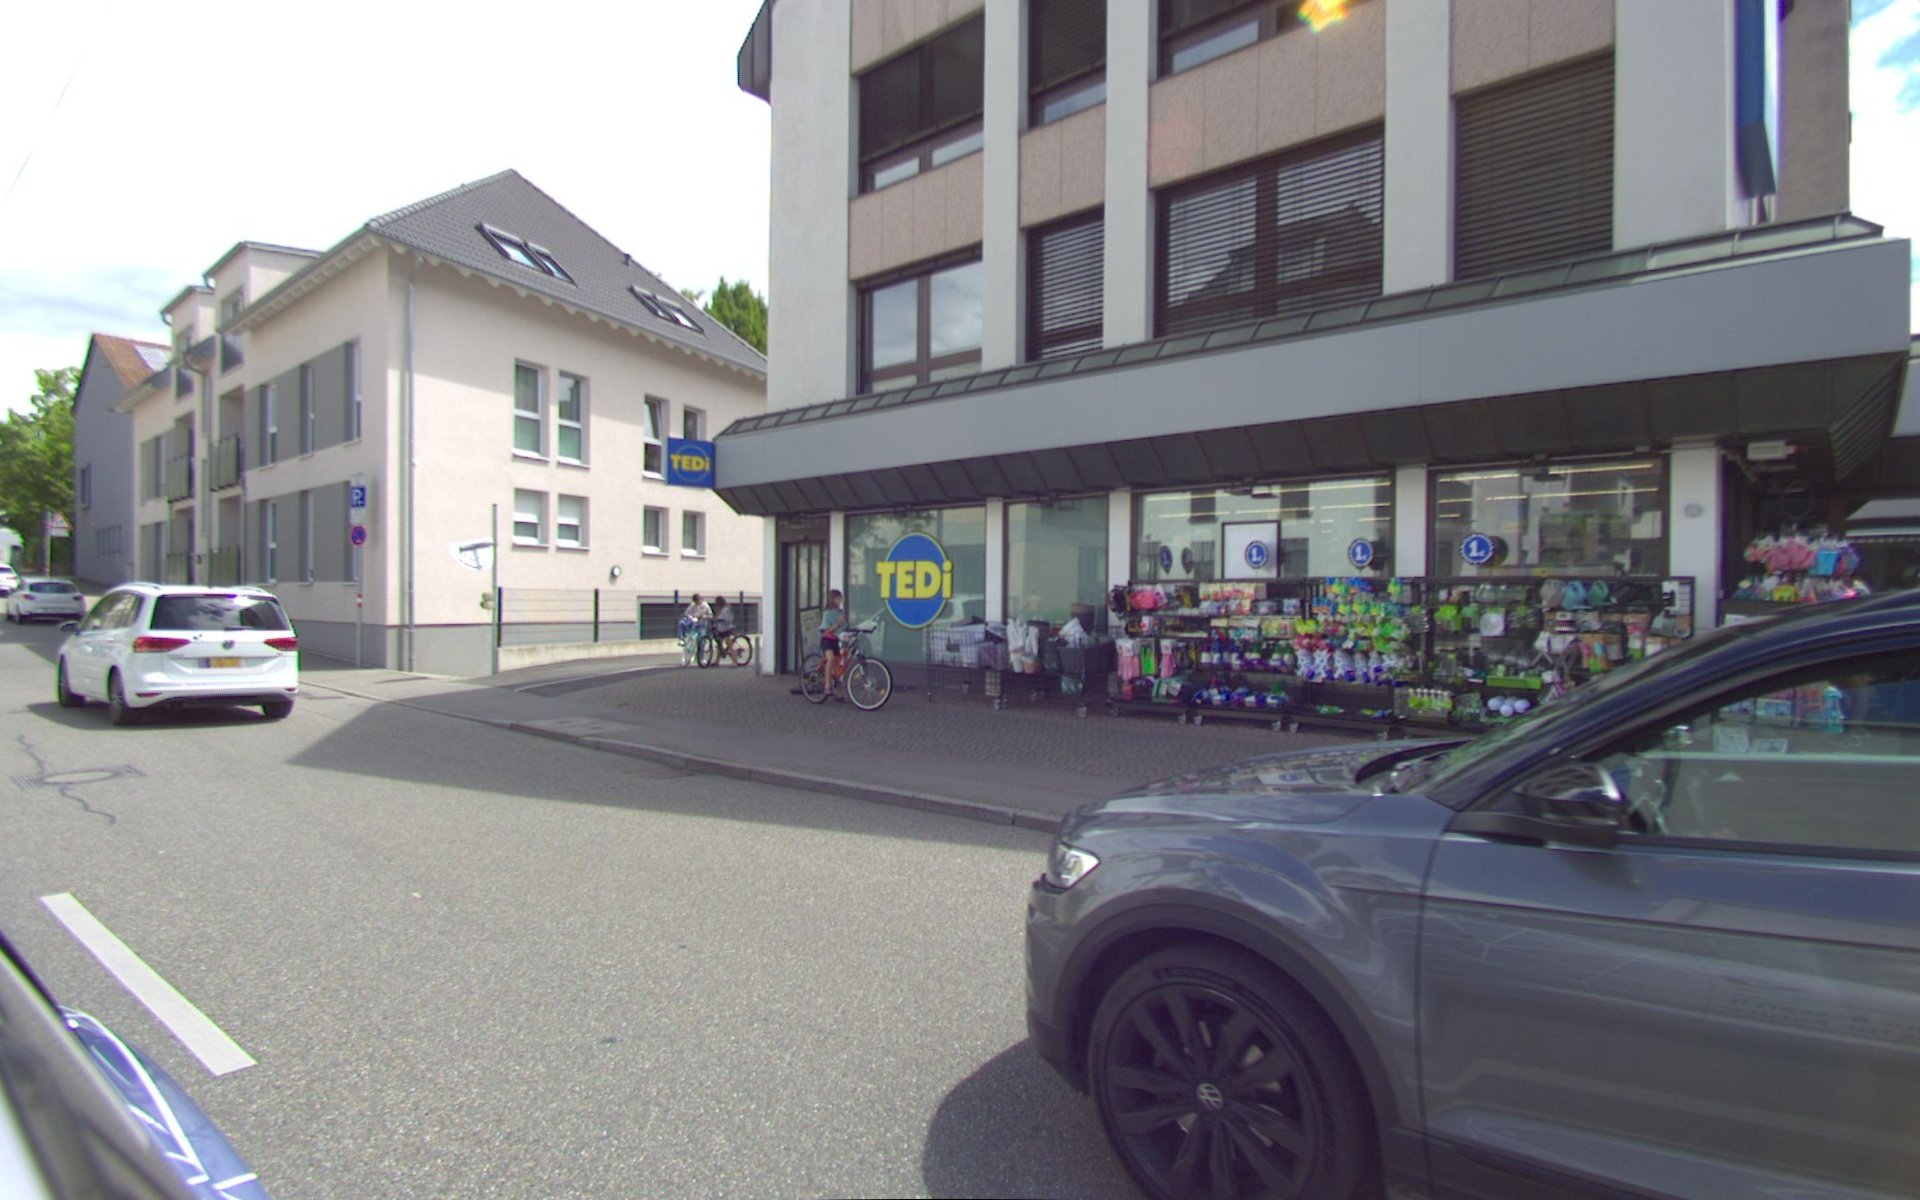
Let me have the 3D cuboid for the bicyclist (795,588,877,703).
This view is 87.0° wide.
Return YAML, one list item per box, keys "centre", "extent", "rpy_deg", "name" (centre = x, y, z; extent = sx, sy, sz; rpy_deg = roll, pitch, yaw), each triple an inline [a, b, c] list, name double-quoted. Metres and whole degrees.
- centre: [-1.547, 0.537, 12.633]
  extent: [0.761, 1.347, 0.660]
  rpy_deg: [1, 4, 41]
  name: "bicyclist"

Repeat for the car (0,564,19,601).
- centre: [-42.988, -0.823, 44.667]
  extent: [4.066, 1.499, 1.714]
  rpy_deg: [4, 1, 42]
  name: "car"

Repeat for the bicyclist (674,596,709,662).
- centre: [-5.132, 0.546, 19.357]
  extent: [0.631, 1.251, 0.428]
  rpy_deg: [0, 1, -15]
  name: "bicyclist"

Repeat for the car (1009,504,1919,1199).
- centre: [2.178, 0.638, 2.064]
  extent: [3.840, 1.522, 1.773]
  rpy_deg: [0, -1, 38]
  name: "car"

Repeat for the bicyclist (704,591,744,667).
- centre: [-4.351, 0.538, 18.656]
  extent: [0.582, 1.376, 0.424]
  rpy_deg: [-1, -1, 7]
  name: "bicyclist"

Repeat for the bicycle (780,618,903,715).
- centre: [-1.491, 0.791, 12.537]
  extent: [1.734, 1.058, 0.439]
  rpy_deg: [1, 4, 41]
  name: "bicycle"

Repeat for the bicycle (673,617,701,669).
- centre: [-5.192, 0.799, 19.296]
  extent: [0.451, 0.924, 1.594]
  rpy_deg: [0, 0, -13]
  name: "bicycle"

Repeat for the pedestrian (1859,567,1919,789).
- centre: [7.084, 0.552, 7.220]
  extent: [0.565, 1.570, 0.774]
  rpy_deg: [0, 2, -7]
  name: "pedestrian"

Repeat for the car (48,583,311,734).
- centre: [-10.016, 0.636, 12.886]
  extent: [4.116, 1.625, 1.757]
  rpy_deg: [1, -1, 40]
  name: "car"

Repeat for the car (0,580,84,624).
- centre: [-29.629, 0.071, 32.643]
  extent: [3.473, 1.340, 1.643]
  rpy_deg: [0, -1, 42]
  name: "car"

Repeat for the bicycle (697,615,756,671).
- centre: [-4.327, 0.780, 18.853]
  extent: [0.548, 0.961, 1.688]
  rpy_deg: [-1, 0, 5]
  name: "bicycle"
